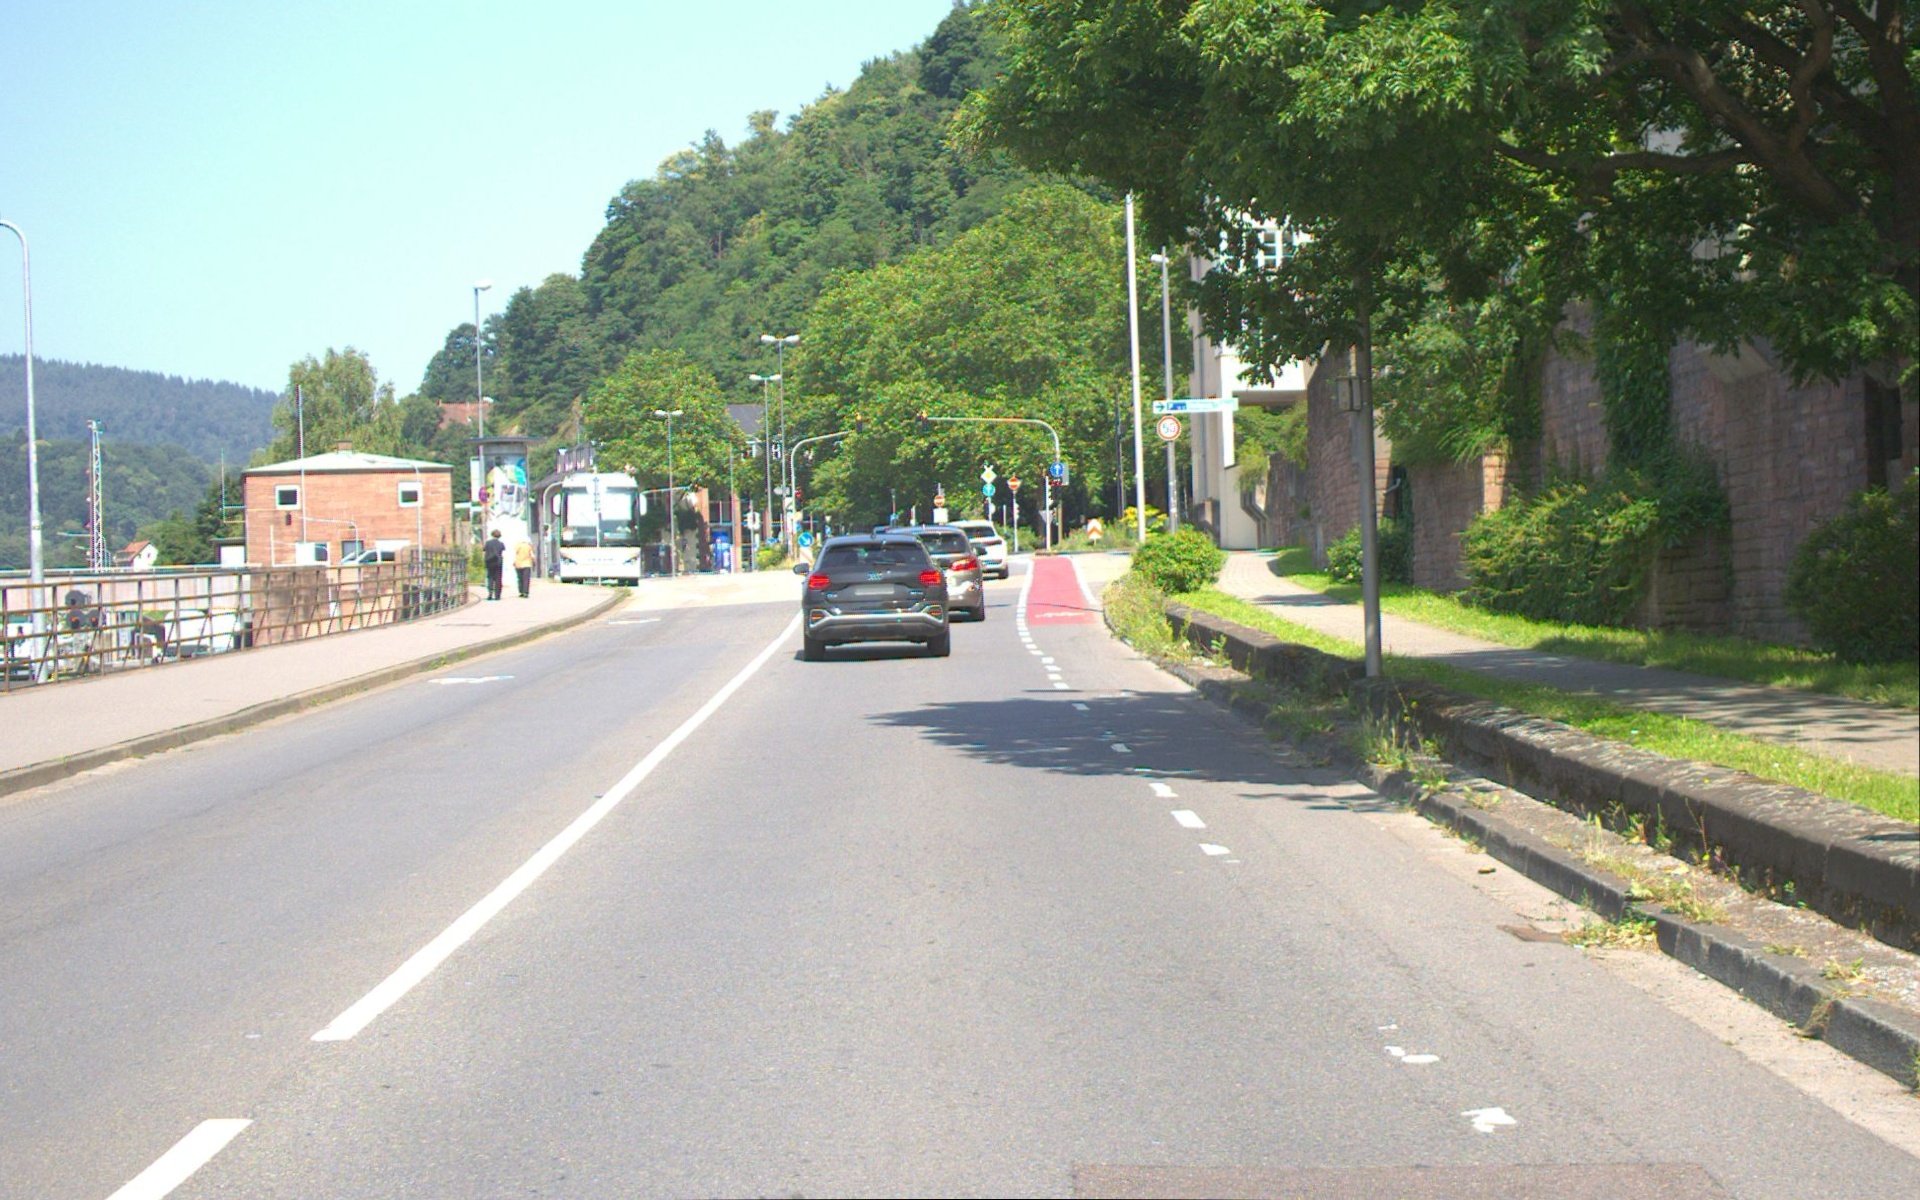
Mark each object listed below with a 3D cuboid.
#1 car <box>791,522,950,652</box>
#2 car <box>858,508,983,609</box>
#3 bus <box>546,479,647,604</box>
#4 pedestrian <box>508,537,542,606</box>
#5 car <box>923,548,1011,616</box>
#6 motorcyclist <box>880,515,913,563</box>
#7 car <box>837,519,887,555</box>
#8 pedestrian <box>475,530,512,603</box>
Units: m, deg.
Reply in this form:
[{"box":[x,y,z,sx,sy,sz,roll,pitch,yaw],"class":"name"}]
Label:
[{"box":[-1.083,-0.183,42.637,1.869,1.508,4.151,1,1,-1],"class":"car"},{"box":[-0.638,-0.674,55.433,1.888,1.516,4.306,-2,1,-1],"class":"car"},{"box":[-12.071,-1.921,114.395,2.956,3.787,13.246,-3,1,-6],"class":"bus"},{"box":[-10.536,-0.690,83.301,0.702,1.615,0.817,-3,1,-3],"class":"pedestrian"},{"box":[0.135,-0.449,81.214,1.993,1.528,4.859,1,1,-1],"class":"car"},{"box":[-2.304,-2.231,124.890,1.075,1.678,1.156,-3,1,-1],"class":"motorcyclist"},{"box":[-4.013,-2.579,139.982,1.866,1.354,4.001,-4,1,-3],"class":"car"},{"box":[-10.995,-0.792,81.063,0.683,1.703,0.773,-3,1,-1],"class":"pedestrian"}]
